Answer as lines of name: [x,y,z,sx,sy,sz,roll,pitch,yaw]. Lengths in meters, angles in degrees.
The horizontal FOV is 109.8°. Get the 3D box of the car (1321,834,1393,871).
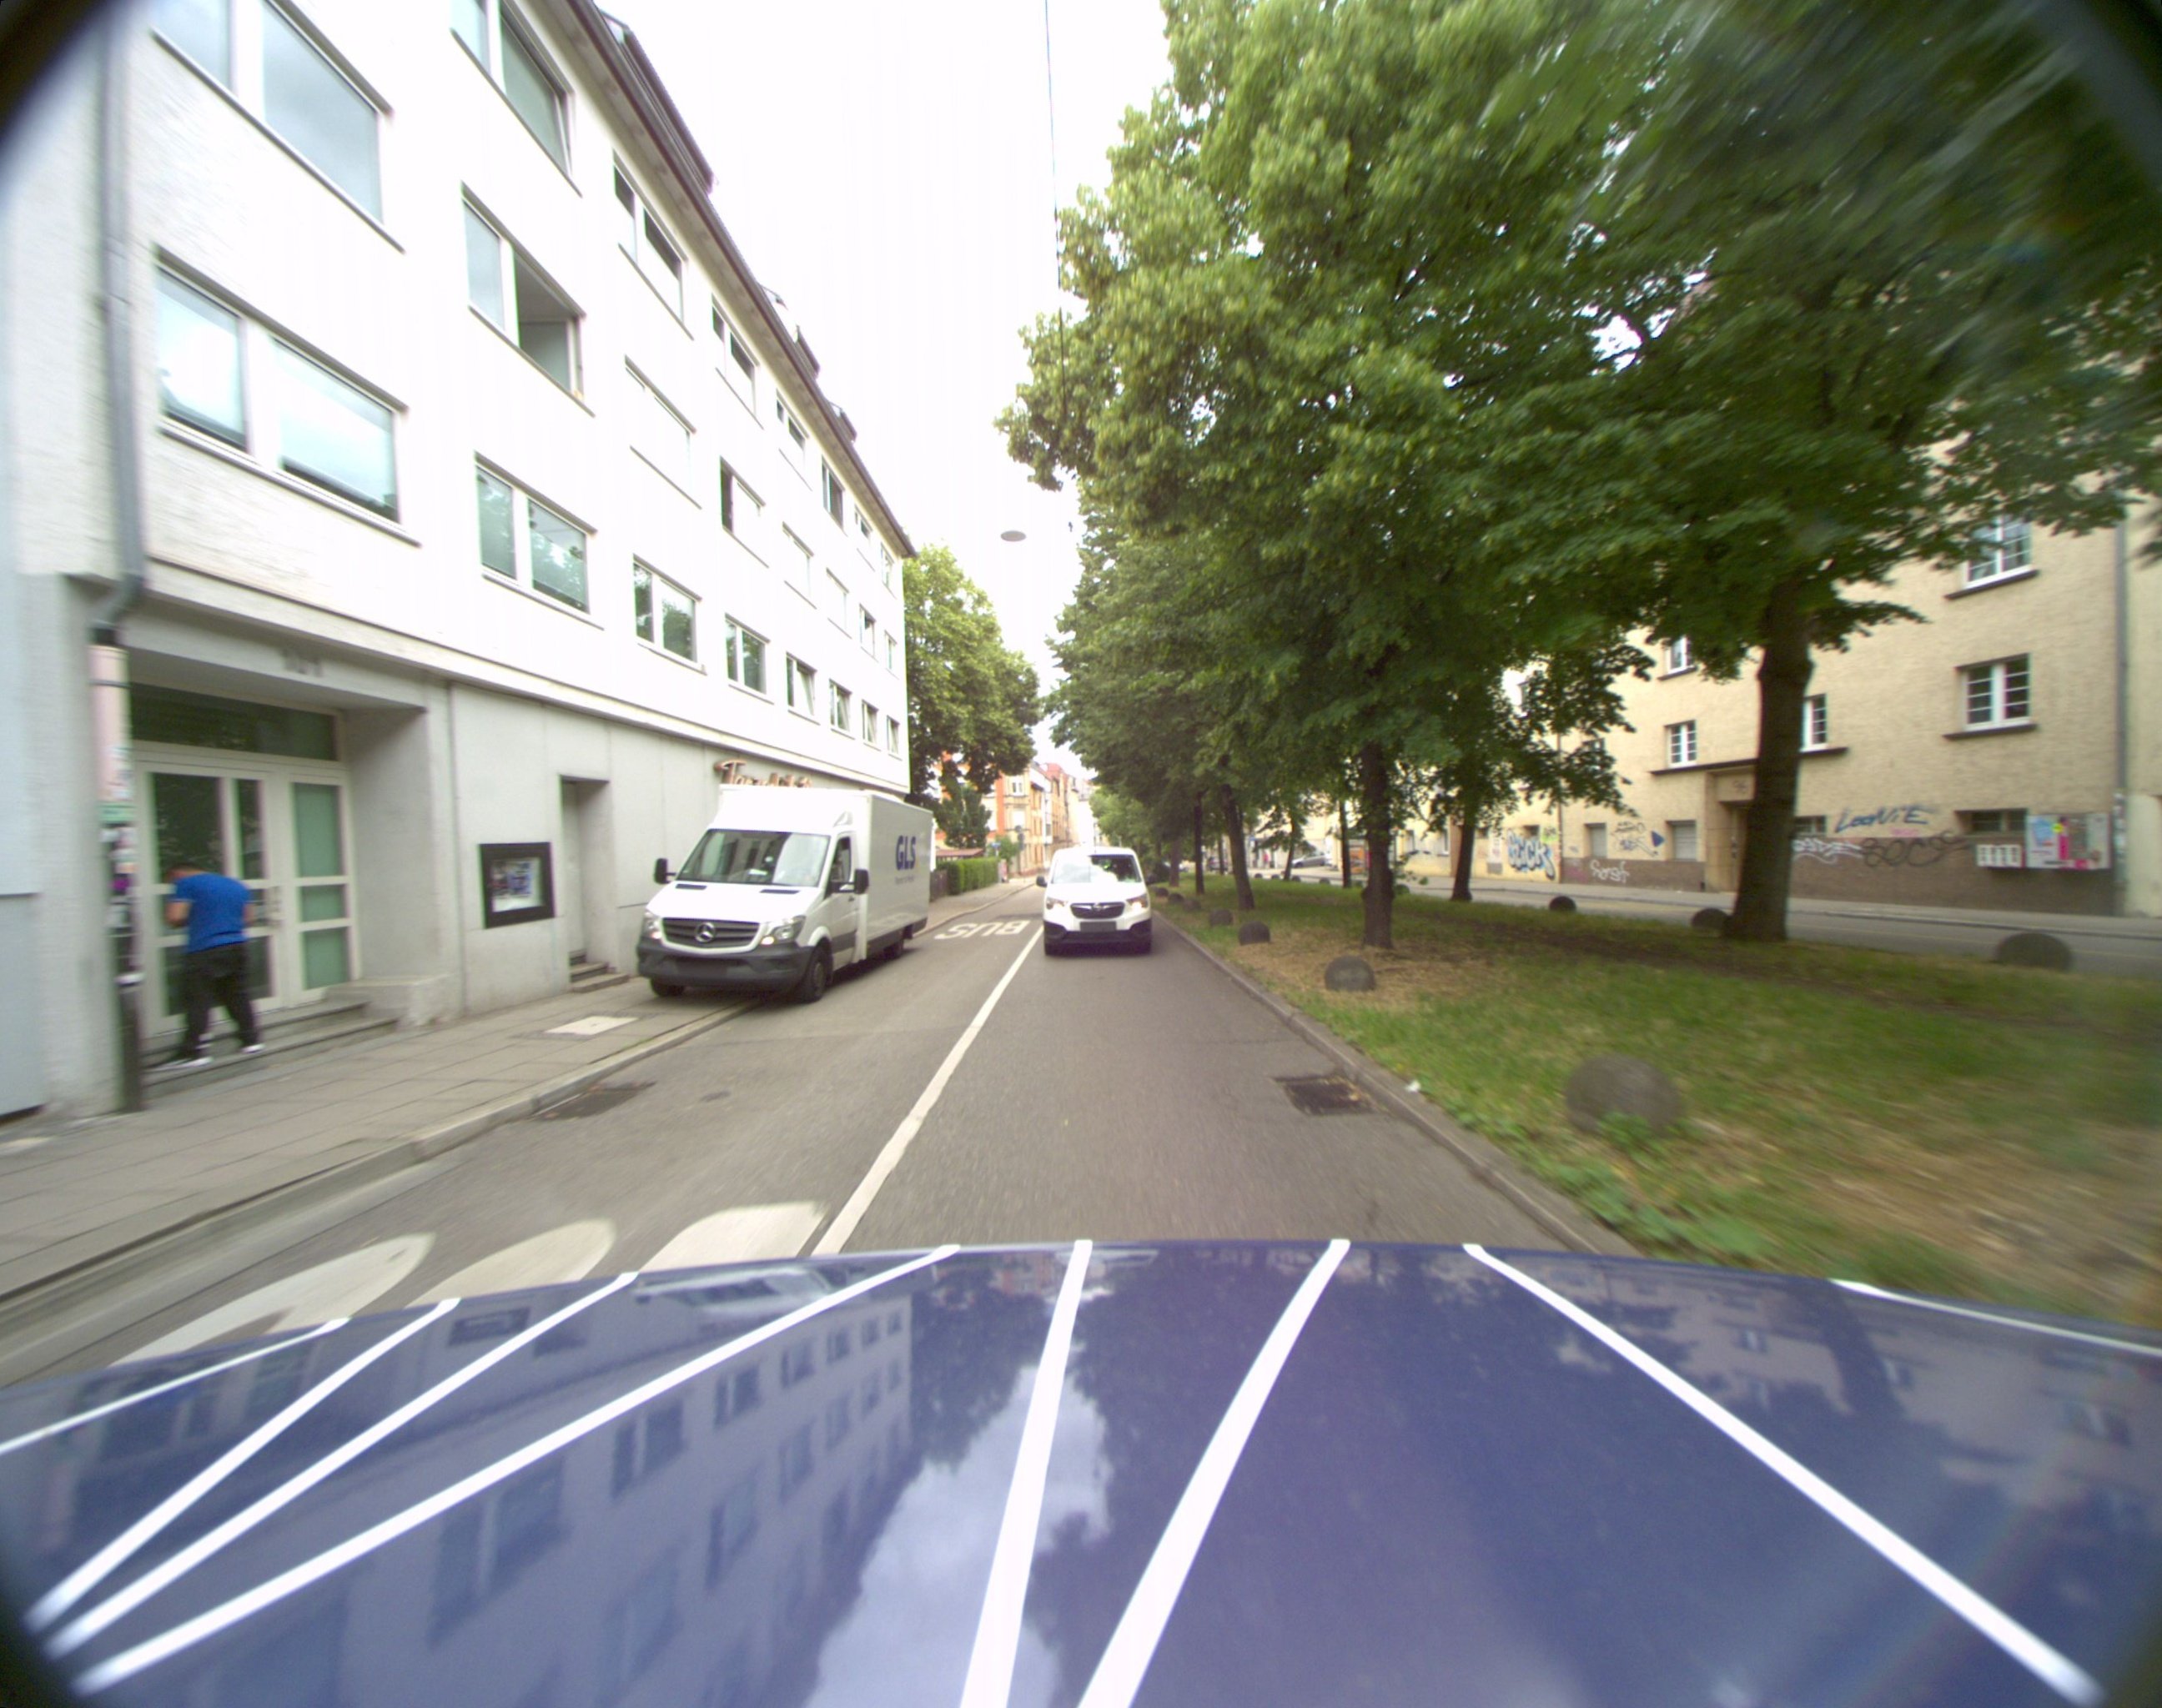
car: [22.935,-0.111,63.212,5.190,2.720,2.175,-3,0,-10]

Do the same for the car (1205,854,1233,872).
car: [13.718,0.899,75.506,1.953,1.618,4.365,-1,-1,0]

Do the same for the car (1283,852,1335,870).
car: [21.598,0.662,72.069,4.298,1.411,2.048,-5,-1,3]

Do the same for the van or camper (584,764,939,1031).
van or camper: [-4.114,0.492,11.796,2.486,2.786,7.237,-2,0,-1]

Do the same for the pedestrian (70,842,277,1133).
pedestrian: [-6.661,0.929,5.618,0.635,2.002,0.686,-2,0,1]

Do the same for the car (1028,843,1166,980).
car: [0.451,0.821,12.812,1.745,1.830,4.345,-4,-1,7]
